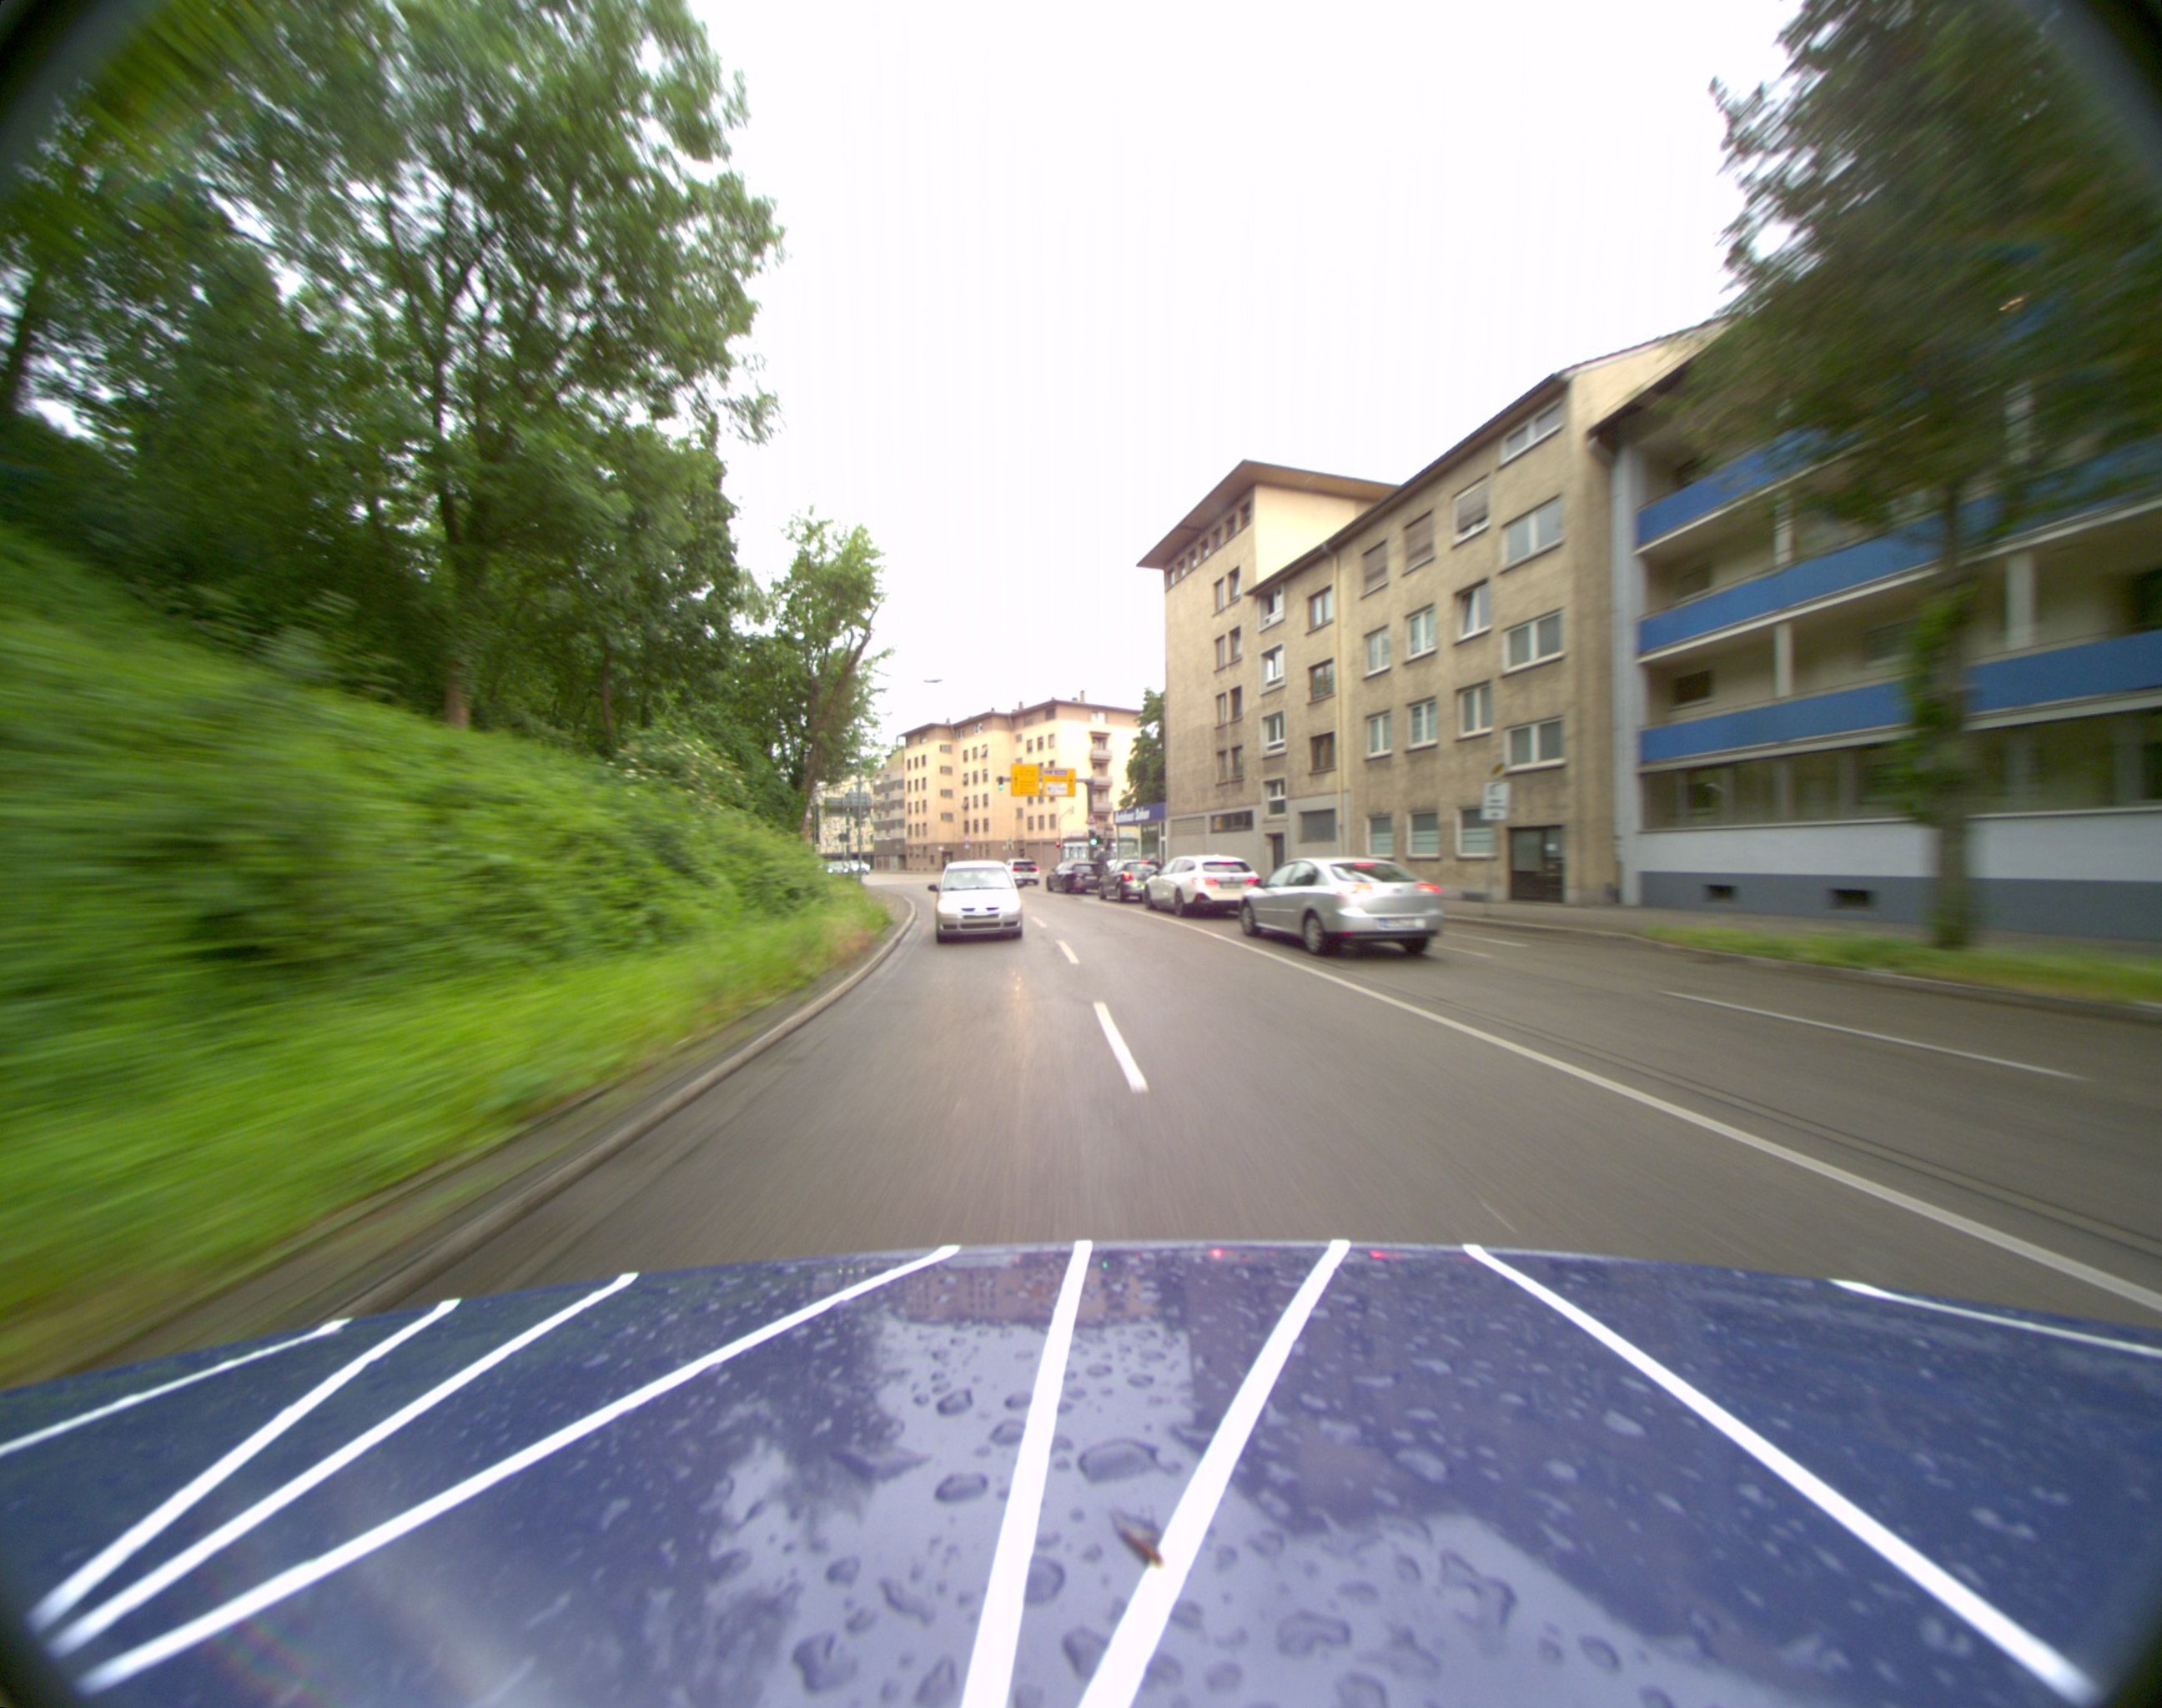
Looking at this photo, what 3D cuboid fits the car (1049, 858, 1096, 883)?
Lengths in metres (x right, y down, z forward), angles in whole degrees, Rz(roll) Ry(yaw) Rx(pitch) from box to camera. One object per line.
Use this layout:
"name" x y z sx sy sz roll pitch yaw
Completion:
"car" -0.561 0.953 45.349 1.664 1.447 3.993 0 0 -18

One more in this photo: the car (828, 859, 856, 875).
"car" -22.899 1.254 72.664 1.823 1.400 4.222 -2 1 -28

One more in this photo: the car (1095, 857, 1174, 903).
"car" 1.753 0.838 26.107 1.686 1.439 3.815 0 0 -13

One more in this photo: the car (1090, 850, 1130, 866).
"car" 3.055 0.398 80.475 1.763 1.638 4.269 -2 2 -43

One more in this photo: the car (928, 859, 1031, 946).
"car" -2.267 0.911 16.060 1.754 1.510 3.996 -3 0 -12

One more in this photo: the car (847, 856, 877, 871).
"car" -23.265 0.999 80.607 1.882 1.469 4.543 -1 0 -32

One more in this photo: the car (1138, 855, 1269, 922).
"car" 3.004 0.789 19.877 1.826 1.507 5.023 0 0 -10

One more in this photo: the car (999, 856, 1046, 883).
"car" -3.484 0.852 44.654 1.792 1.487 4.209 0 0 -18

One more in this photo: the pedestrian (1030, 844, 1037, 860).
"pedestrian" -4.939 -0.198 79.324 0.582 1.629 0.618 -1 1 -12

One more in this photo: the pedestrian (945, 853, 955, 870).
"pedestrian" -15.579 0.851 90.613 0.812 2.002 0.856 -2 0 -34

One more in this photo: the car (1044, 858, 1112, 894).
"car" -0.232 0.891 33.225 1.797 1.399 4.619 -1 0 -16

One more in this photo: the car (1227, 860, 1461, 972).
"car" 3.986 0.843 12.471 1.758 1.417 4.533 -1 0 -8
